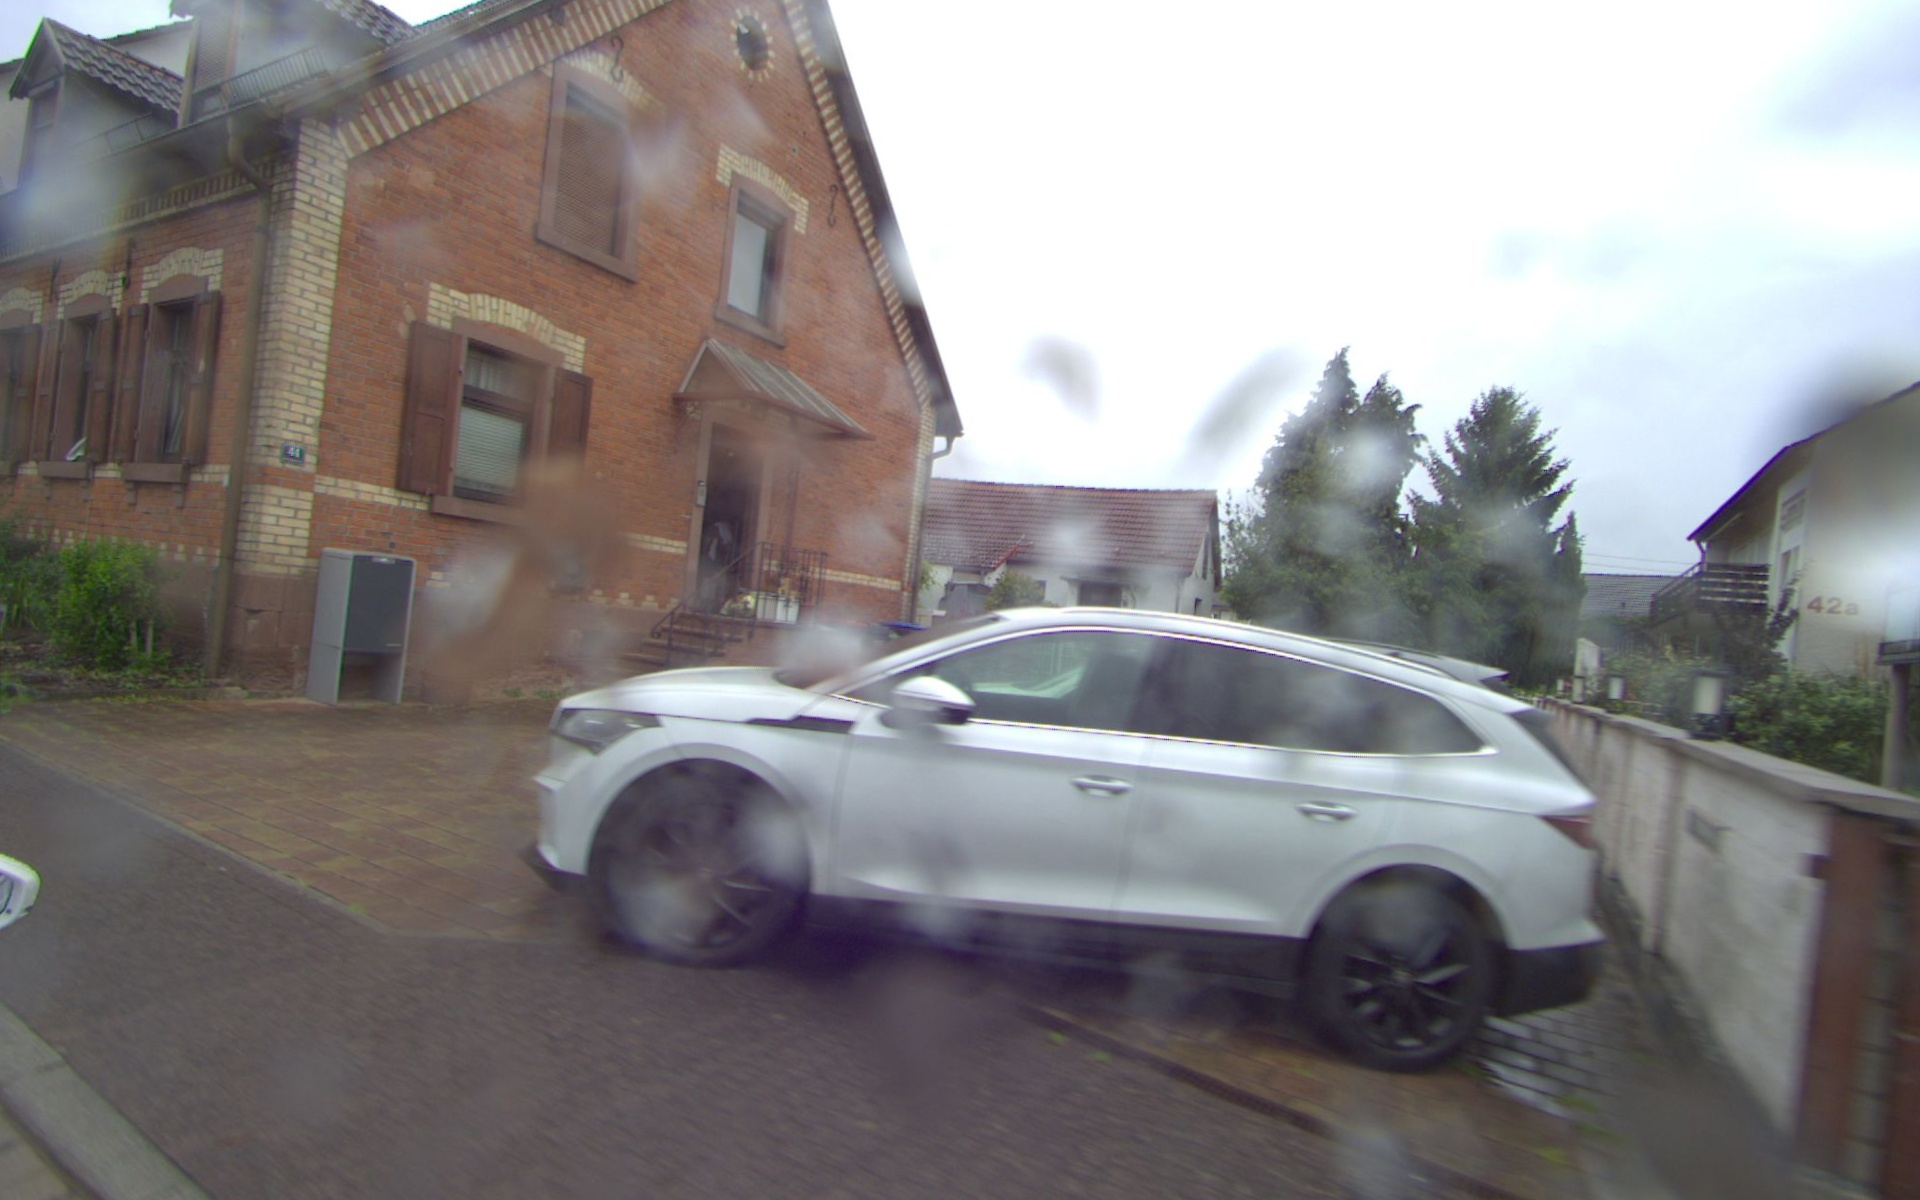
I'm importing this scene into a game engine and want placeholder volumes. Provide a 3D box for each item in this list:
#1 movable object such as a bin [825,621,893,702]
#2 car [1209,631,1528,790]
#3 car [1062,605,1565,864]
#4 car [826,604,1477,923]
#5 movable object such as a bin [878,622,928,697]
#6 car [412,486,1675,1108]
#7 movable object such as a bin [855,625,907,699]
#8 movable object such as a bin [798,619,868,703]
[{"bbox_3d":[-1.491,0.914,14.888,0.656,1.105,0.578,5,-3,32],"label":"movable object such as a bin"},{"bbox_3d":[5.976,1.578,15.188,3.990,1.666,1.811,8,0,10],"label":"car"},{"bbox_3d":[3.221,1.174,9.916,4.140,1.698,1.809,8,2,9],"label":"car"},{"bbox_3d":[1.328,1.113,7.789,4.211,1.535,1.878,8,0,5],"label":"car"},{"bbox_3d":[-0.897,0.940,15.842,0.468,1.106,0.494,5,-3,32],"label":"movable object such as a bin"},{"bbox_3d":[0.344,0.793,4.681,4.538,1.608,1.877,10,-2,-3],"label":"car"},{"bbox_3d":[-1.205,0.951,15.394,0.468,1.056,0.494,5,-3,32],"label":"movable object such as a bin"},{"bbox_3d":[-1.817,0.873,14.367,0.656,1.105,0.578,5,-3,32],"label":"movable object such as a bin"}]
